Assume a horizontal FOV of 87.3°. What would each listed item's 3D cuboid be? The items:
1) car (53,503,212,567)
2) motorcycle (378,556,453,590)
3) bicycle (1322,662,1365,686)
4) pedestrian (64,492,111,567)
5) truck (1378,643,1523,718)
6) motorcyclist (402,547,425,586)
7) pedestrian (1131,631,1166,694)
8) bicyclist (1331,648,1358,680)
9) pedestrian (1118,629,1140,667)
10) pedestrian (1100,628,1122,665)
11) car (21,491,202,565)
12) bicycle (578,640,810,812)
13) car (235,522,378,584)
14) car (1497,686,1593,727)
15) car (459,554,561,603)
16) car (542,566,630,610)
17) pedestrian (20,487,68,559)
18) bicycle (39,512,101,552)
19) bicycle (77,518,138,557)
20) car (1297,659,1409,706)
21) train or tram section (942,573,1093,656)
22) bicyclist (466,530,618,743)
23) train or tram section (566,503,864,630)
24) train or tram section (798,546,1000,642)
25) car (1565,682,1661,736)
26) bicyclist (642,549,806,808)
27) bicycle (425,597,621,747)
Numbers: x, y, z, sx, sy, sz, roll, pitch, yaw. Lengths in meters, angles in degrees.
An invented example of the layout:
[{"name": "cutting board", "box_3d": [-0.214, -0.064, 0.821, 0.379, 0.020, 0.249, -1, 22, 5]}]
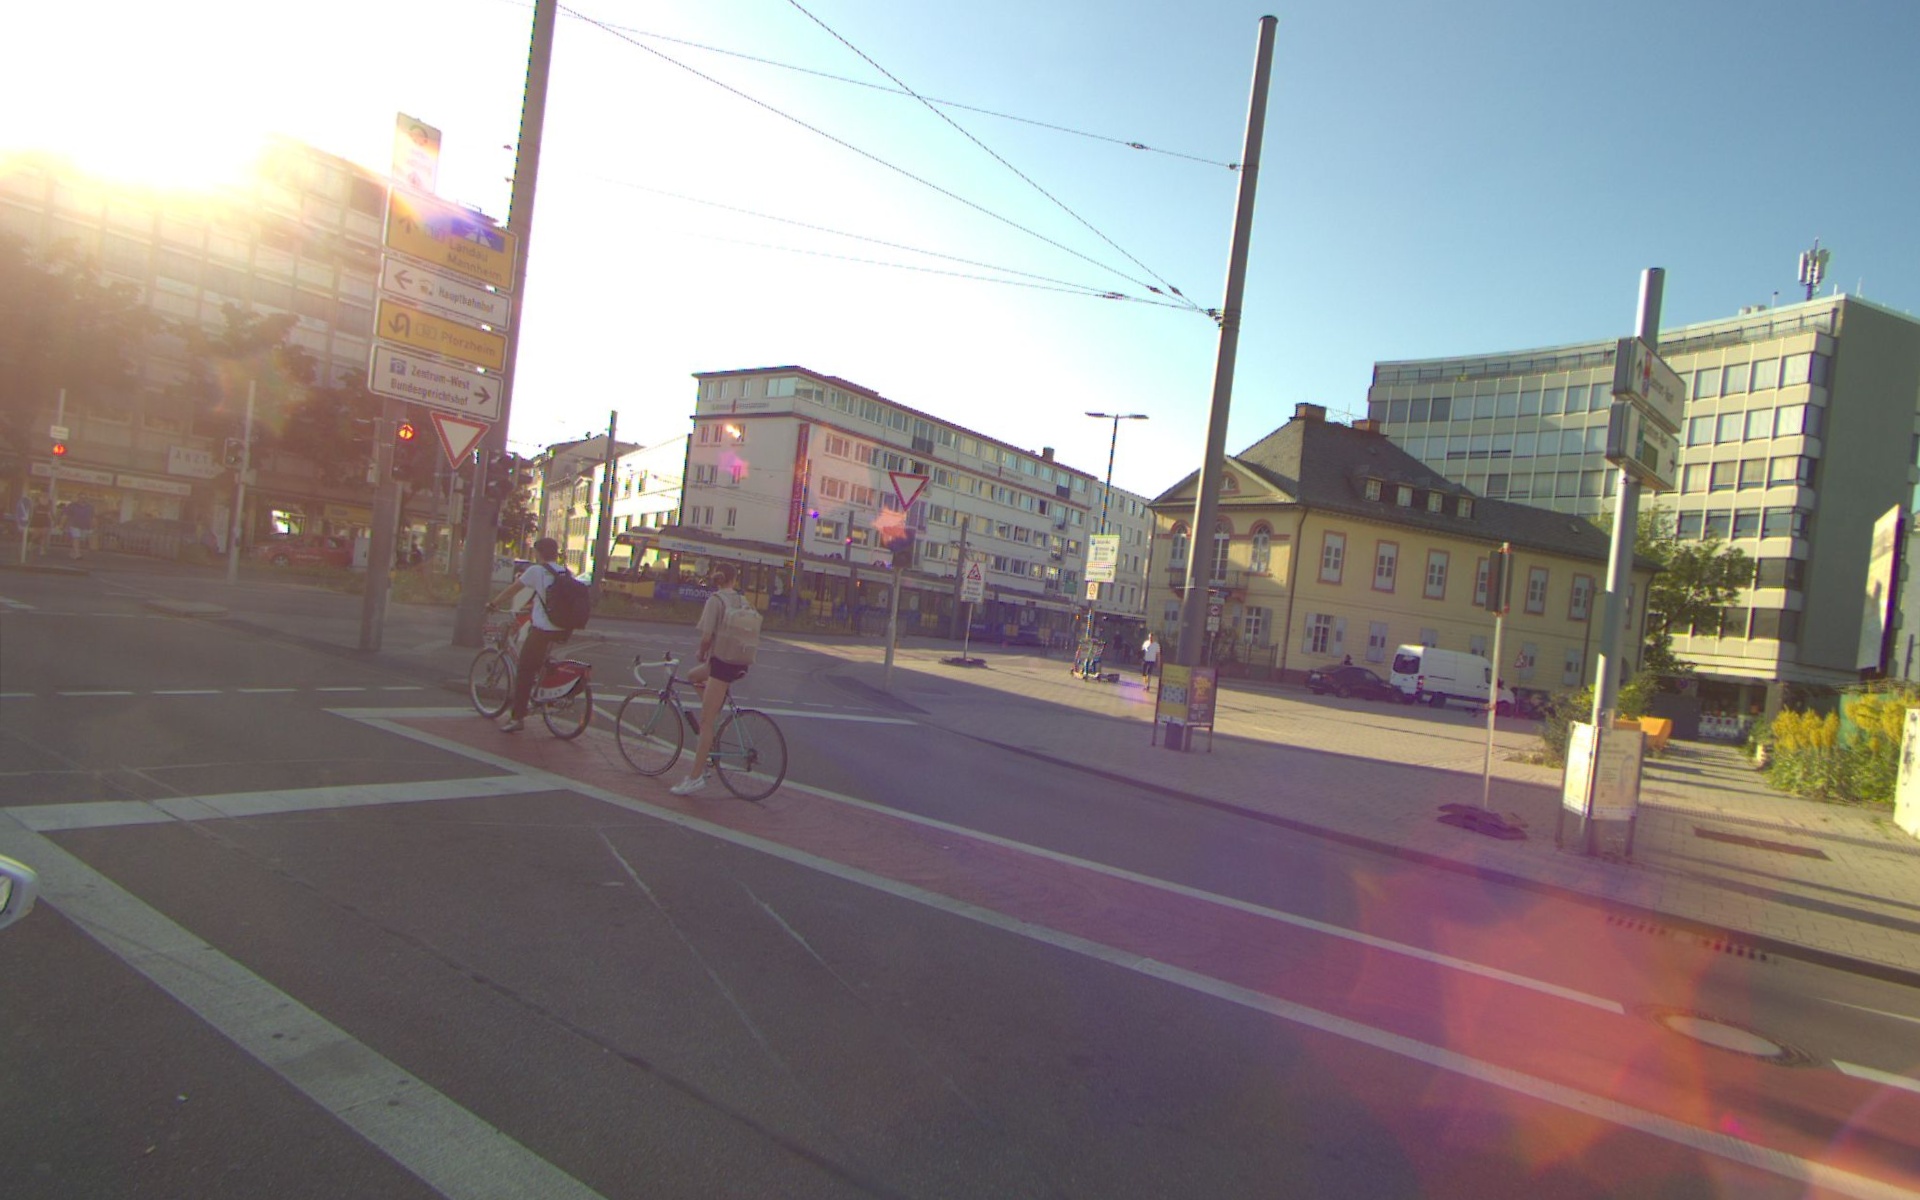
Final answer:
[{"name": "car", "box_3d": [-30.309, -2.348, 36.944, 1.816, 1.636, 4.071, 6, -2, 36]}, {"name": "motorcycle", "box_3d": [-22.225, -1.086, 41.111, 0.527, 1.013, 2.664, 6, -2, 36]}, {"name": "bicycle", "box_3d": [19.246, 3.721, 50.488, 1.963, 0.959, 0.722, 8, -2, -19]}, {"name": "pedestrian", "box_3d": [-22.714, -1.836, 26.184, 0.694, 1.814, 1.029, 8, -1, -45]}, {"name": "truck", "box_3d": [21.832, 3.576, 44.808, 5.556, 2.578, 2.294, 8, -2, -17]}, {"name": "motorcyclist", "box_3d": [-22.280, -1.356, 41.000, 0.527, 1.526, 0.460, 6, -1, 37]}, {"name": "pedestrian", "box_3d": [5.641, 1.864, 30.047, 0.746, 1.783, 1.009, 7, -1, 16]}, {"name": "bicyclist", "box_3d": [19.311, 3.202, 50.494, 0.885, 1.474, 0.722, 8, -1, -18]}, {"name": "pedestrian", "box_3d": [8.089, 2.297, 48.037, 0.802, 1.661, 0.687, 7, -1, 14]}, {"name": "pedestrian", "box_3d": [7.222, 2.225, 47.987, 0.802, 1.661, 0.687, 7, -1, 12]}, {"name": "car", "box_3d": [-26.891, -2.260, 32.001, 1.816, 1.636, 3.990, 6, -2, 36]}, {"name": "bicycle", "box_3d": [-2.039, 0.918, 7.645, 1.664, 1.013, 0.543, 6, -1, 27]}, {"name": "car", "box_3d": [-24.469, -1.740, 37.769, 1.816, 1.636, 3.990, 6, -2, 36]}, {"name": "car", "box_3d": [27.093, 4.926, 46.591, 3.706, 1.380, 1.709, 8, -2, -17]}, {"name": "car", "box_3d": [-20.030, -0.919, 44.986, 1.809, 1.636, 4.004, 7, -2, 18]}, {"name": "car", "box_3d": [-18.554, -0.551, 50.084, 1.810, 1.636, 4.003, 7, -2, 20]}, {"name": "pedestrian", "box_3d": [-23.396, -1.973, 25.687, 1.029, 1.702, 0.694, 6, -1, 45]}, {"name": "bicycle", "box_3d": [-34.497, -2.633, 38.981, 2.594, 1.157, 0.751, 9, 0, 26]}, {"name": "bicycle", "box_3d": [-33.919, -2.506, 40.026, 2.594, 1.157, 0.751, 9, 0, 26]}, {"name": "car", "box_3d": [16.621, 3.483, 42.594, 4.133, 1.380, 1.709, 8, -2, -17]}, {"name": "train or tram section", "box_3d": [4.056, 1.113, 65.493, 3.655, 3.877, 12.960, 6, -2, 32]}, {"name": "bicyclist", "box_3d": [-3.814, 0.322, 9.175, 1.042, 1.789, 0.543, 7, -1, 27]}, {"name": "train or tram section", "box_3d": [-9.977, -1.158, 43.713, 3.656, 3.880, 13.326, 6, -1, 34]}, {"name": "train or tram section", "box_3d": [-2.863, -0.109, 54.632, 3.656, 3.880, 12.948, 6, -1, 33]}, {"name": "car", "box_3d": [31.150, 5.204, 47.979, 3.706, 2.003, 1.709, 8, -2, -17]}, {"name": "bicyclist", "box_3d": [-1.746, 0.567, 7.483, 0.778, 1.766, 0.615, 7, -1, 27]}, {"name": "bicycle", "box_3d": [-4.037, 0.636, 9.250, 1.777, 1.113, 0.543, 6, -1, 27]}]
